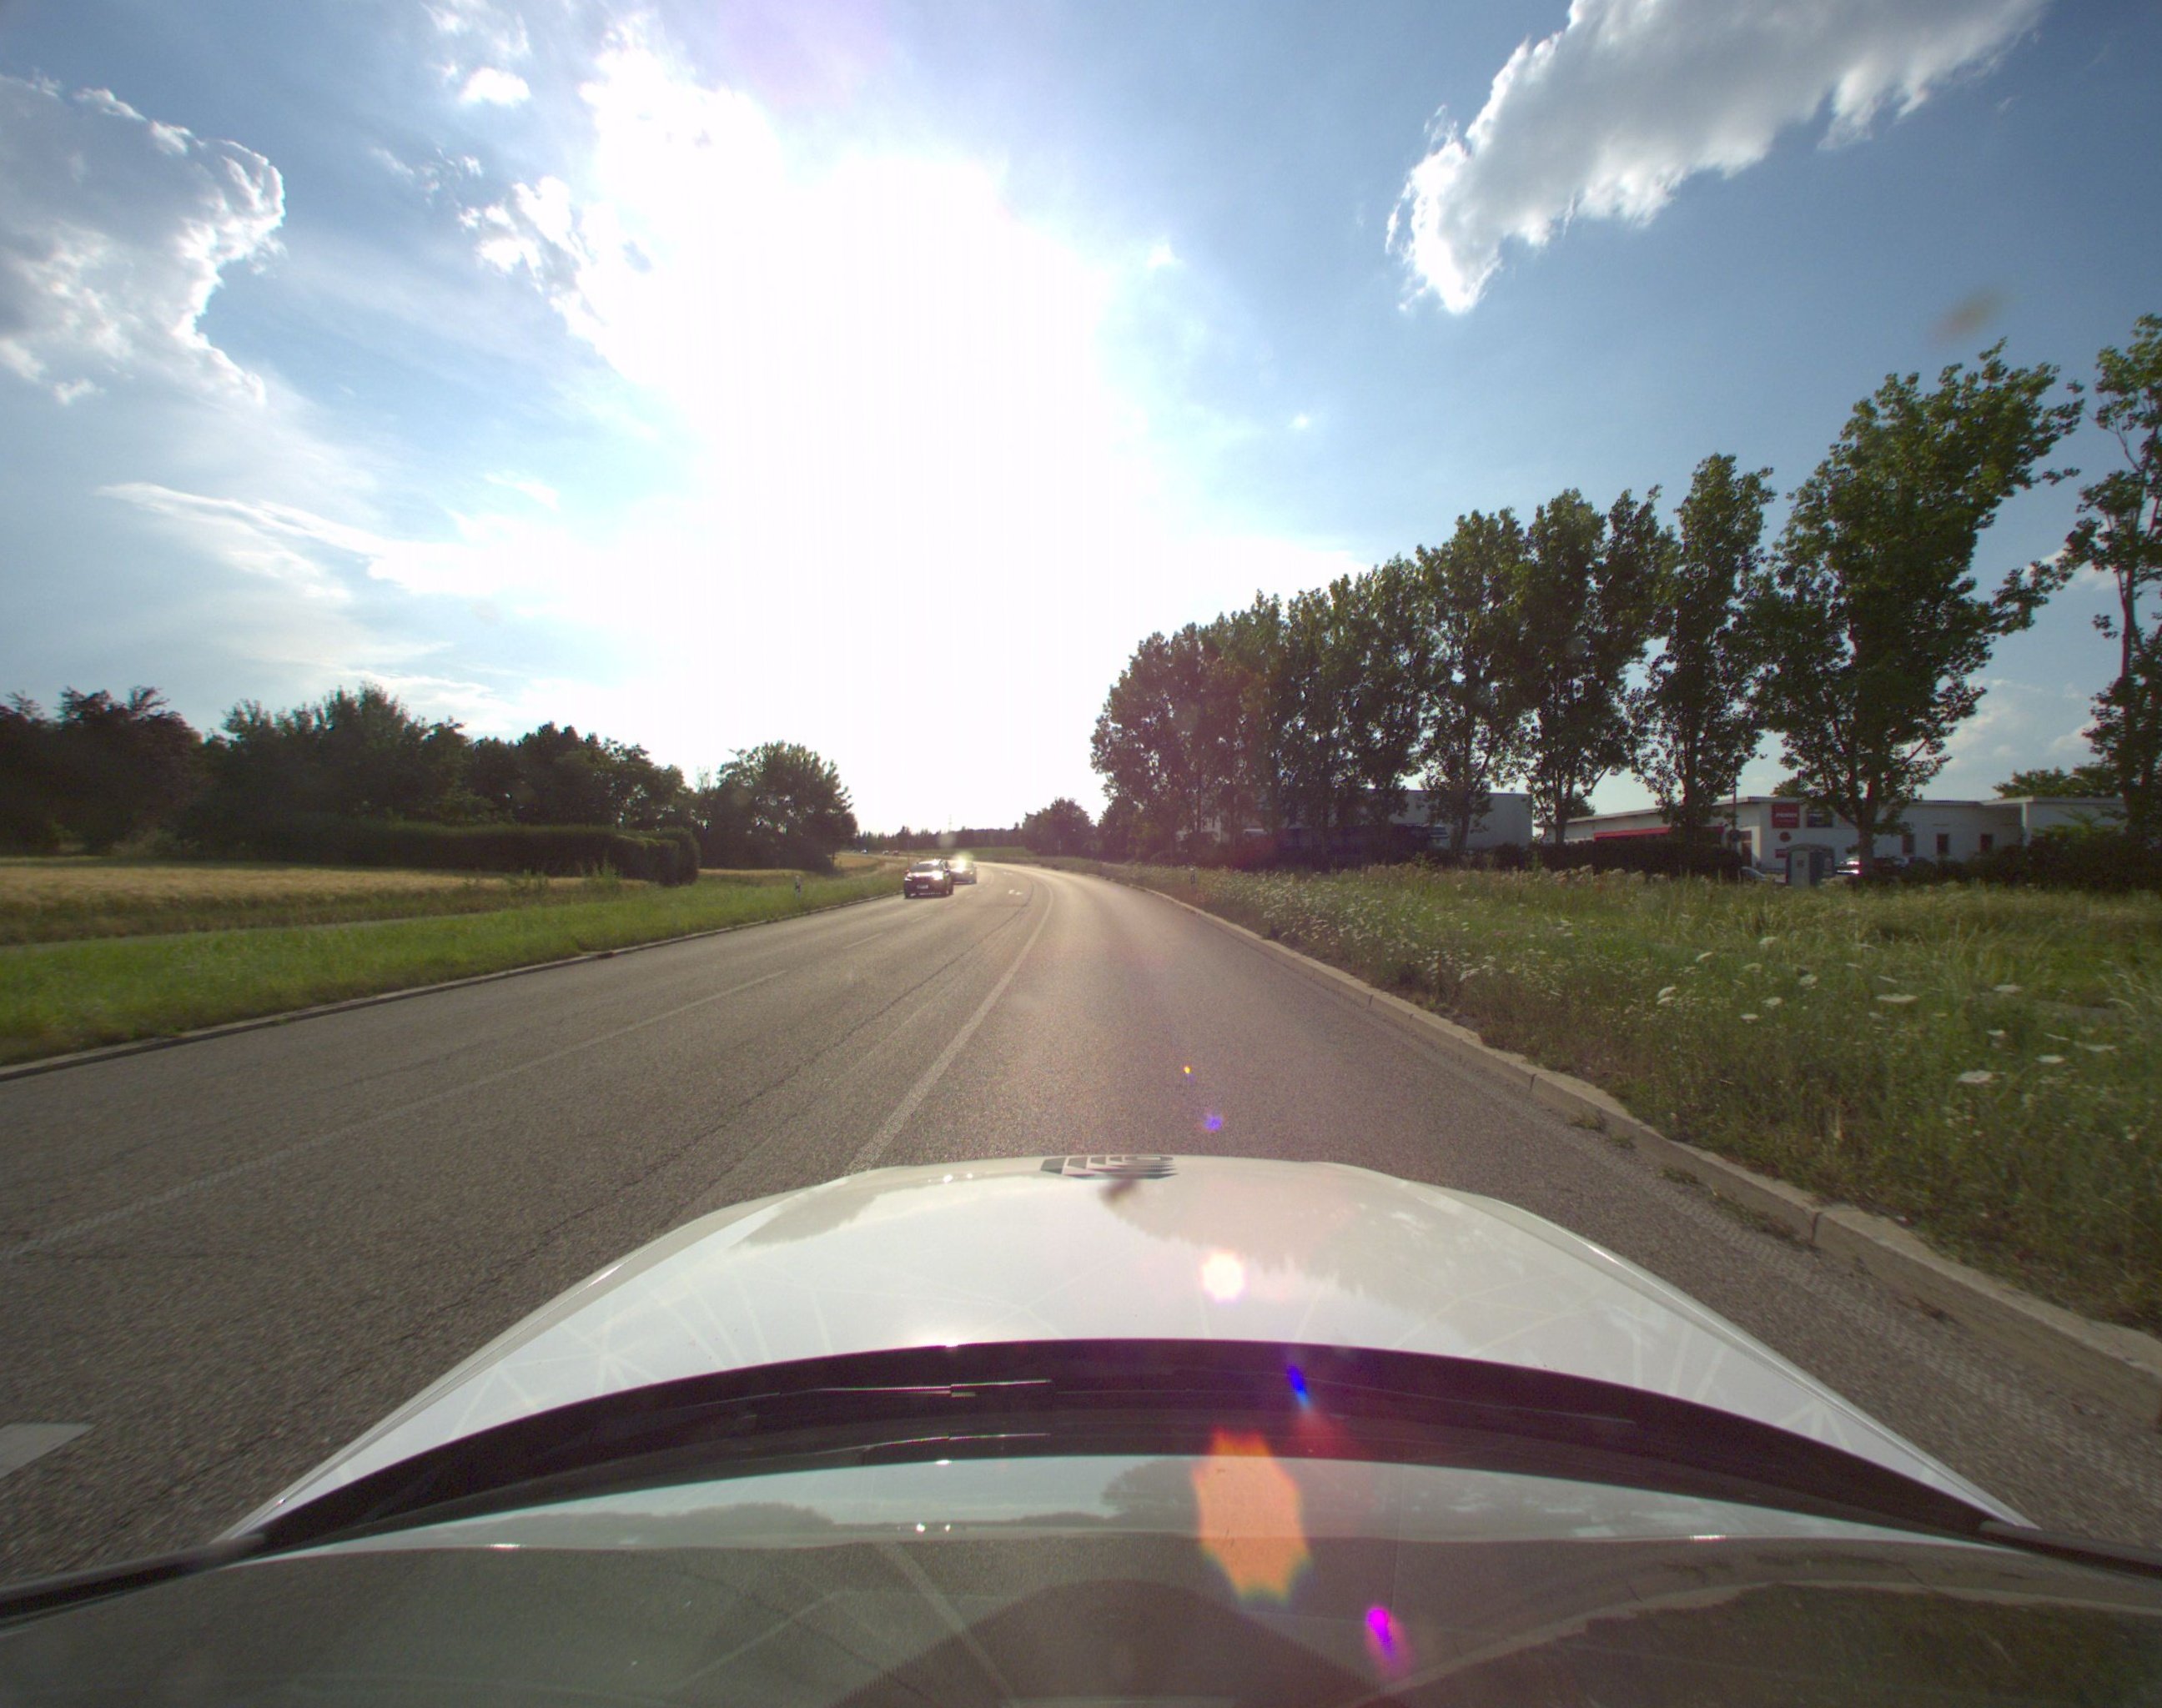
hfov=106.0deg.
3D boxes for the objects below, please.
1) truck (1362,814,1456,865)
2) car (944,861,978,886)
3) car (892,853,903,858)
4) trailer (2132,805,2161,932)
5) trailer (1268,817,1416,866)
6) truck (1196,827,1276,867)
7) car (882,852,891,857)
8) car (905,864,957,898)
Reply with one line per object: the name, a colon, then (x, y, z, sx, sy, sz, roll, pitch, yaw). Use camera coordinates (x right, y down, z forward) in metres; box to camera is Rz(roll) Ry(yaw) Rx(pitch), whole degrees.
truck: (22.320, -0.905, 55.732, 2.632, 3.162, 5.664, 3, -2, -24)
car: (-7.395, 1.185, 50.345, 1.680, 1.349, 3.629, 3, 1, -3)
car: (-48.883, 0.381, 217.014, 1.976, 1.151, 3.838, 3, -1, -23)
trailer: (36.688, 0.498, 19.766, 2.251, 3.915, 13.625, 3, -1, -21)
trailer: (19.473, -0.726, 62.315, 2.695, 3.142, 13.164, 3, -3, -24)
truck: (14.286, -0.570, 76.064, 2.521, 3.377, 9.615, 3, -1, -21)
car: (-55.296, 0.110, 231.919, 1.858, 1.408, 3.617, 3, -1, -23)
car: (-6.545, 1.156, 35.969, 1.680, 1.349, 3.996, 2, 0, -3)
